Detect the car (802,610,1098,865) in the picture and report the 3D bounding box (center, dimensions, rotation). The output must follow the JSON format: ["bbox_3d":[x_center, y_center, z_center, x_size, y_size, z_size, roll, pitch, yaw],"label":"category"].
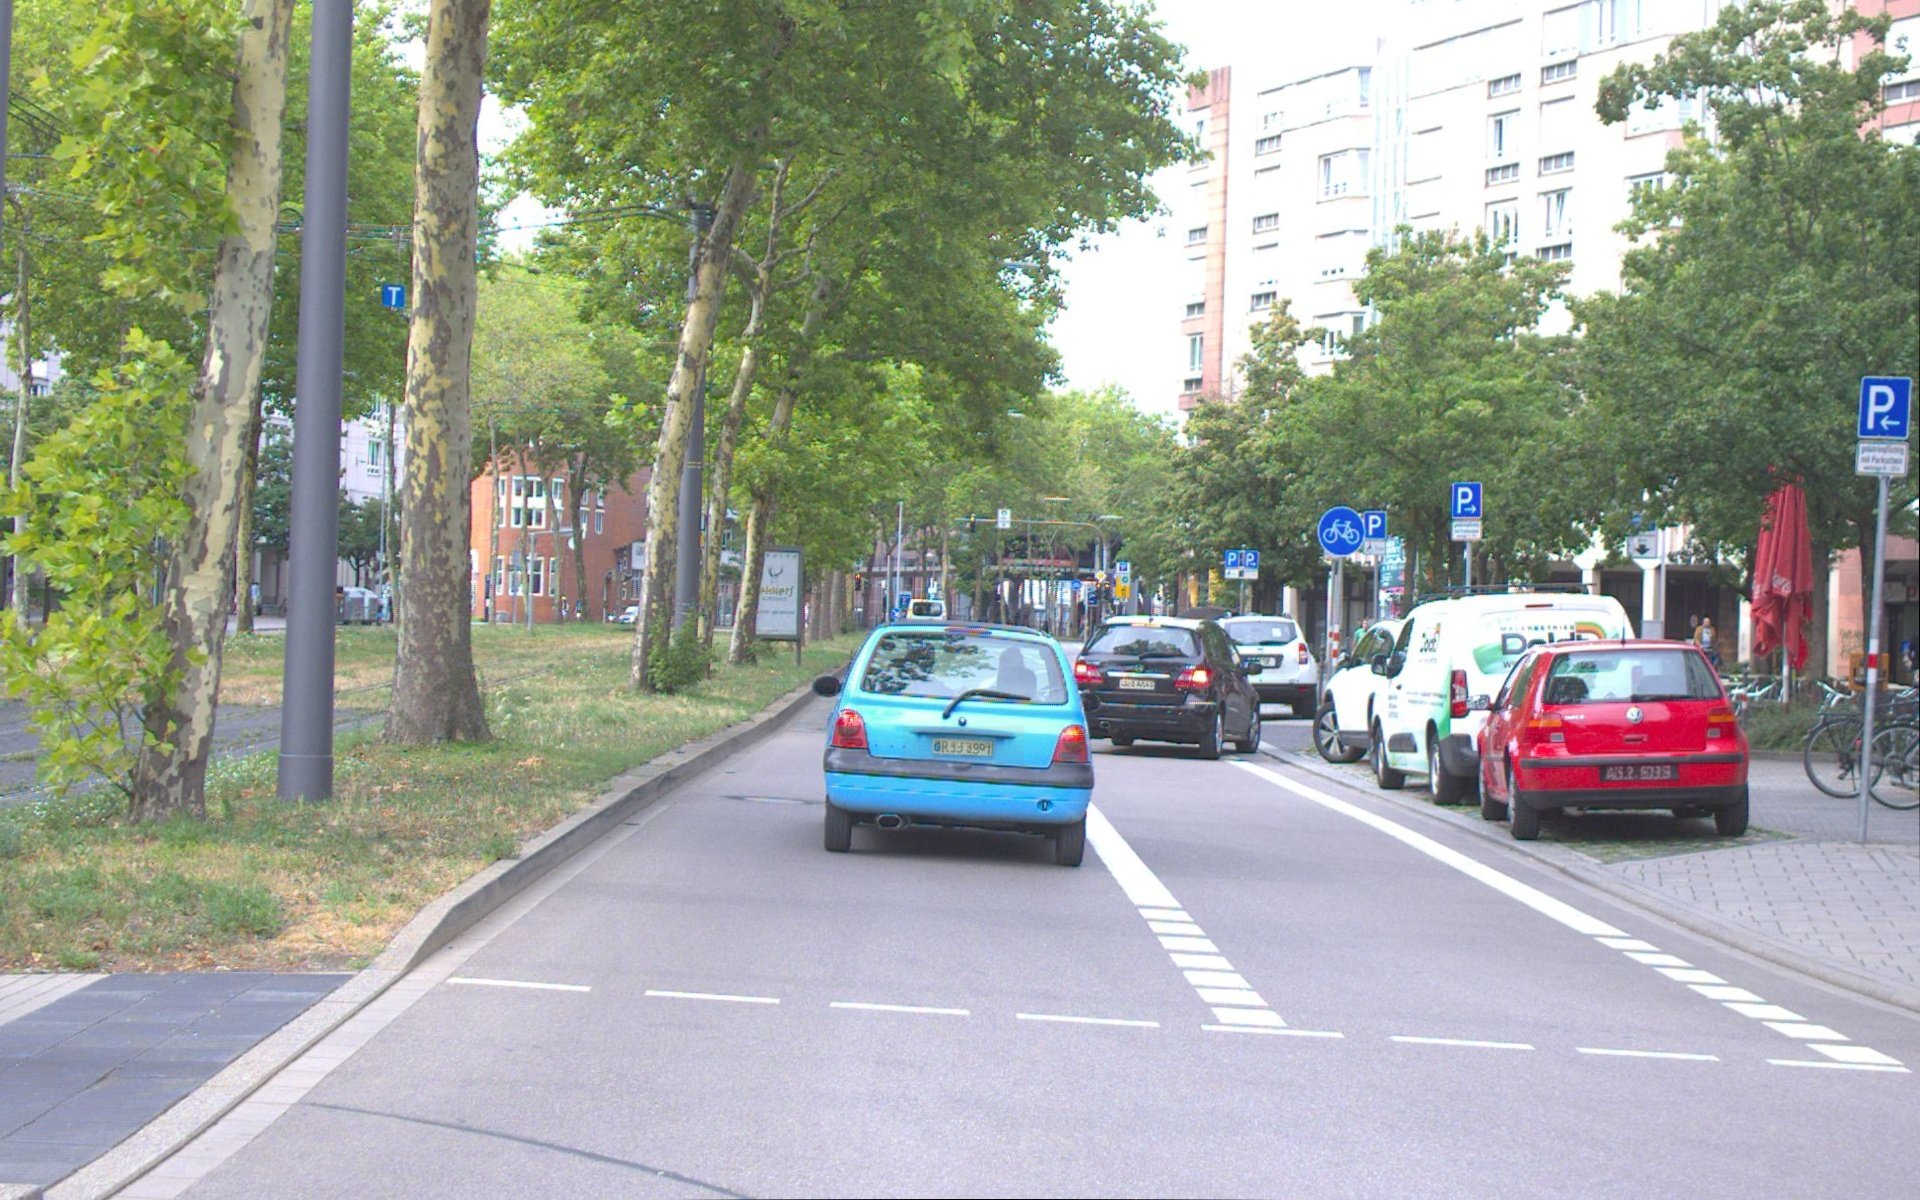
[{"bbox_3d":[-0.042,0.793,21.668,1.640,1.381,3.843,3,0,1],"label":"car"}]

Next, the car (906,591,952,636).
[{"bbox_3d":[-1.369,0.578,153.537,1.932,1.919,4.955,2,0,0],"label":"car"}]

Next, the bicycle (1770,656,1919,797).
[{"bbox_3d":[8.277,1.133,30.499,2.056,1.193,0.479,2,0,8],"label":"bicycle"}]

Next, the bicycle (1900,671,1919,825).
[{"bbox_3d":[8.018,1.120,25.682,1.848,1.135,0.493,1,0,-6],"label":"bicycle"}]

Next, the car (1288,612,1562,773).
[{"bbox_3d":[5.026,0.965,37.822,1.994,1.597,4.584,-1,0,-5],"label":"car"}]

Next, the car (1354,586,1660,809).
[{"bbox_3d":[4.828,0.805,30.995,1.826,1.858,4.648,0,0,-3],"label":"car"}]

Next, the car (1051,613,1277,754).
[{"bbox_3d":[2.472,0.939,40.726,1.776,1.571,4.301,0,0,16],"label":"car"}]

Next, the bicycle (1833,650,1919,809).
[{"bbox_3d":[8.566,1.091,28.135,2.632,1.254,0.655,2,0,0],"label":"bicycle"}]

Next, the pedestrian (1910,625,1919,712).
[{"bbox_3d":[17.378,1.234,61.784,0.512,1.550,0.473,2,0,13],"label":"pedestrian"}]

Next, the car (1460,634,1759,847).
[{"bbox_3d":[4.832,1.005,26.083,1.722,1.428,4.252,-1,0,4],"label":"car"}]

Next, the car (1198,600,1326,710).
[{"bbox_3d":[4.774,0.848,54.806,1.861,1.648,4.163,1,0,3],"label":"car"}]

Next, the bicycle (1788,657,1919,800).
[{"bbox_3d":[8.238,1.127,29.966,1.909,1.193,0.479,2,0,8],"label":"bicycle"}]
